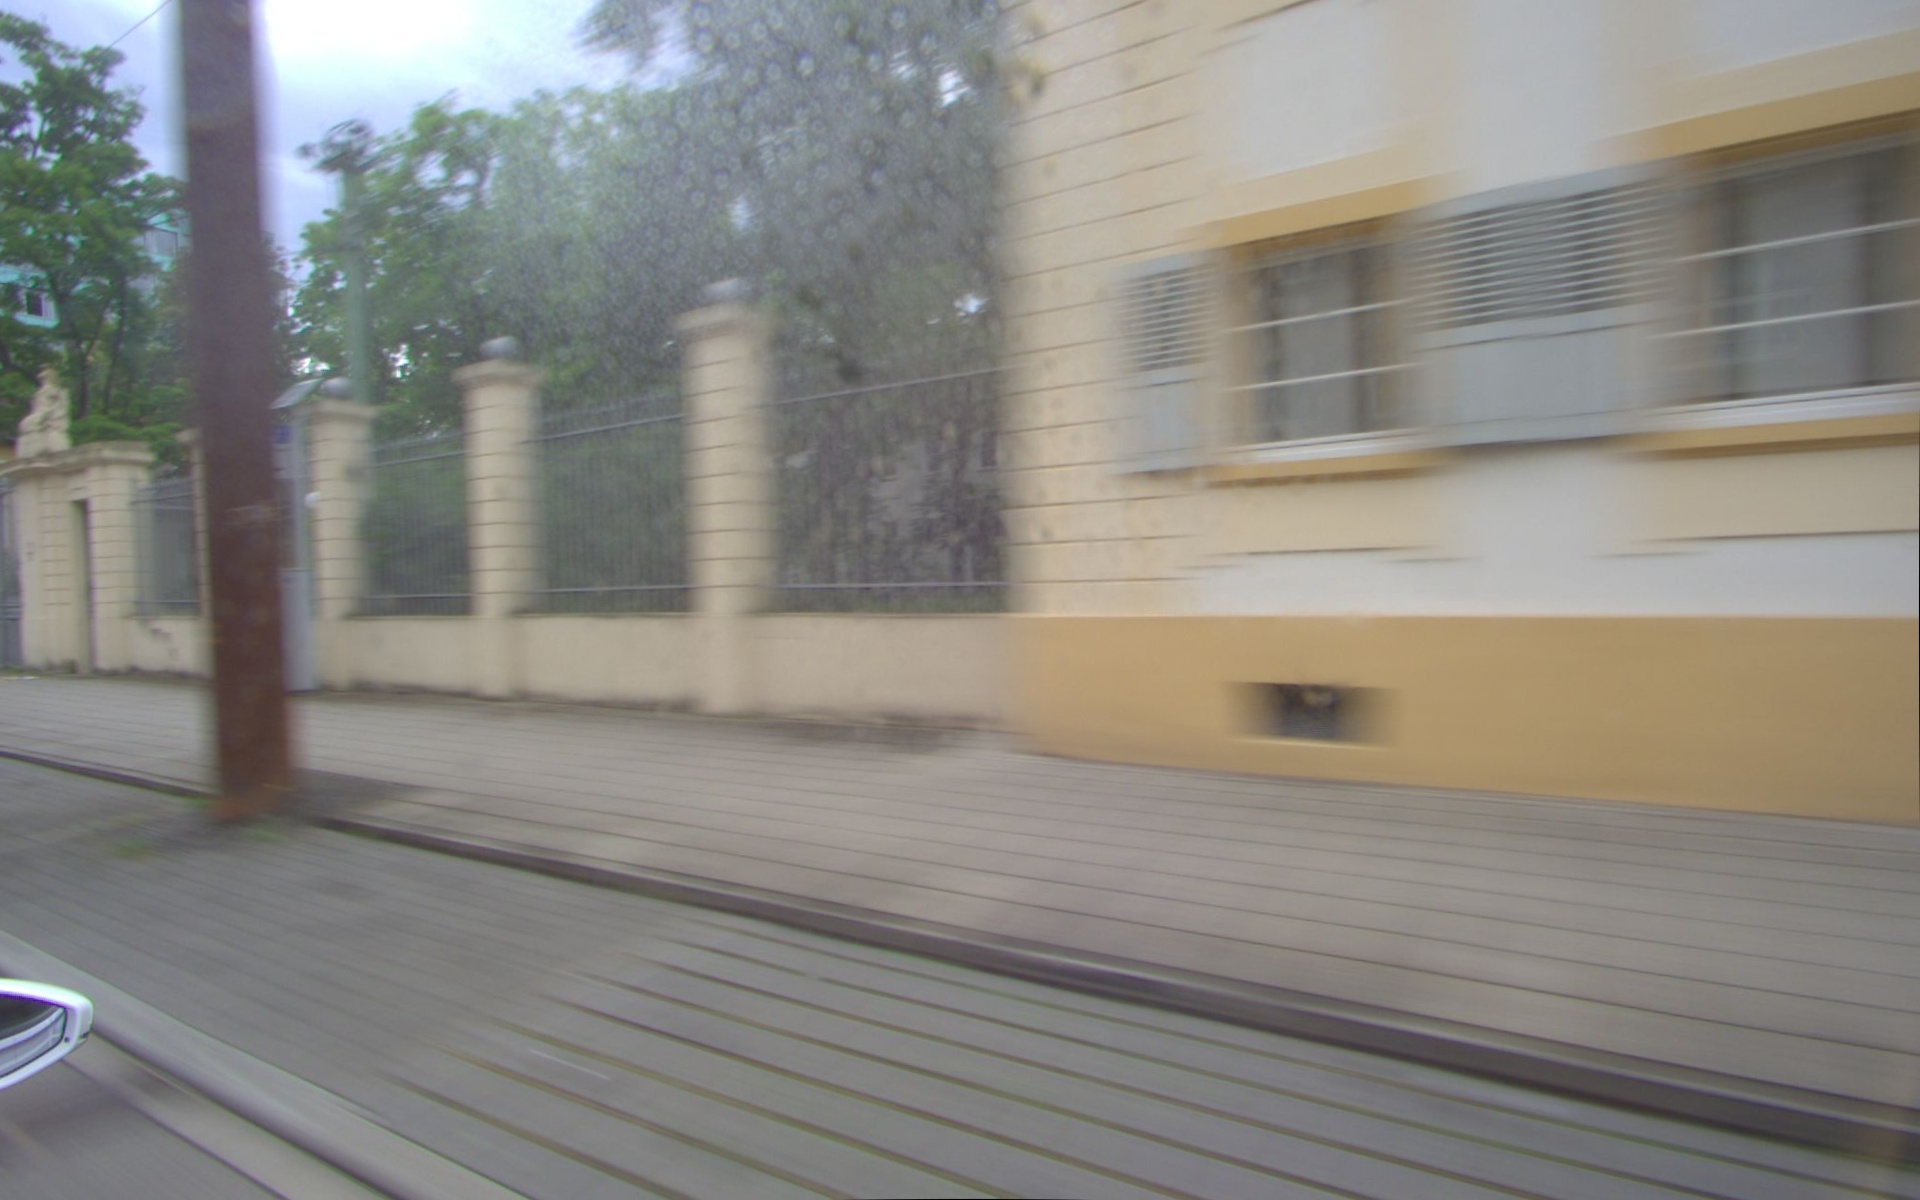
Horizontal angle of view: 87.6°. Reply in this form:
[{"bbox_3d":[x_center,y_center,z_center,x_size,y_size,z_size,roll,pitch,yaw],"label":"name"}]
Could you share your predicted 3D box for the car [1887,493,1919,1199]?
[{"bbox_3d":[3.336,0.595,0.523,3.874,1.596,1.750,-1,3,32],"label":"car"}]
